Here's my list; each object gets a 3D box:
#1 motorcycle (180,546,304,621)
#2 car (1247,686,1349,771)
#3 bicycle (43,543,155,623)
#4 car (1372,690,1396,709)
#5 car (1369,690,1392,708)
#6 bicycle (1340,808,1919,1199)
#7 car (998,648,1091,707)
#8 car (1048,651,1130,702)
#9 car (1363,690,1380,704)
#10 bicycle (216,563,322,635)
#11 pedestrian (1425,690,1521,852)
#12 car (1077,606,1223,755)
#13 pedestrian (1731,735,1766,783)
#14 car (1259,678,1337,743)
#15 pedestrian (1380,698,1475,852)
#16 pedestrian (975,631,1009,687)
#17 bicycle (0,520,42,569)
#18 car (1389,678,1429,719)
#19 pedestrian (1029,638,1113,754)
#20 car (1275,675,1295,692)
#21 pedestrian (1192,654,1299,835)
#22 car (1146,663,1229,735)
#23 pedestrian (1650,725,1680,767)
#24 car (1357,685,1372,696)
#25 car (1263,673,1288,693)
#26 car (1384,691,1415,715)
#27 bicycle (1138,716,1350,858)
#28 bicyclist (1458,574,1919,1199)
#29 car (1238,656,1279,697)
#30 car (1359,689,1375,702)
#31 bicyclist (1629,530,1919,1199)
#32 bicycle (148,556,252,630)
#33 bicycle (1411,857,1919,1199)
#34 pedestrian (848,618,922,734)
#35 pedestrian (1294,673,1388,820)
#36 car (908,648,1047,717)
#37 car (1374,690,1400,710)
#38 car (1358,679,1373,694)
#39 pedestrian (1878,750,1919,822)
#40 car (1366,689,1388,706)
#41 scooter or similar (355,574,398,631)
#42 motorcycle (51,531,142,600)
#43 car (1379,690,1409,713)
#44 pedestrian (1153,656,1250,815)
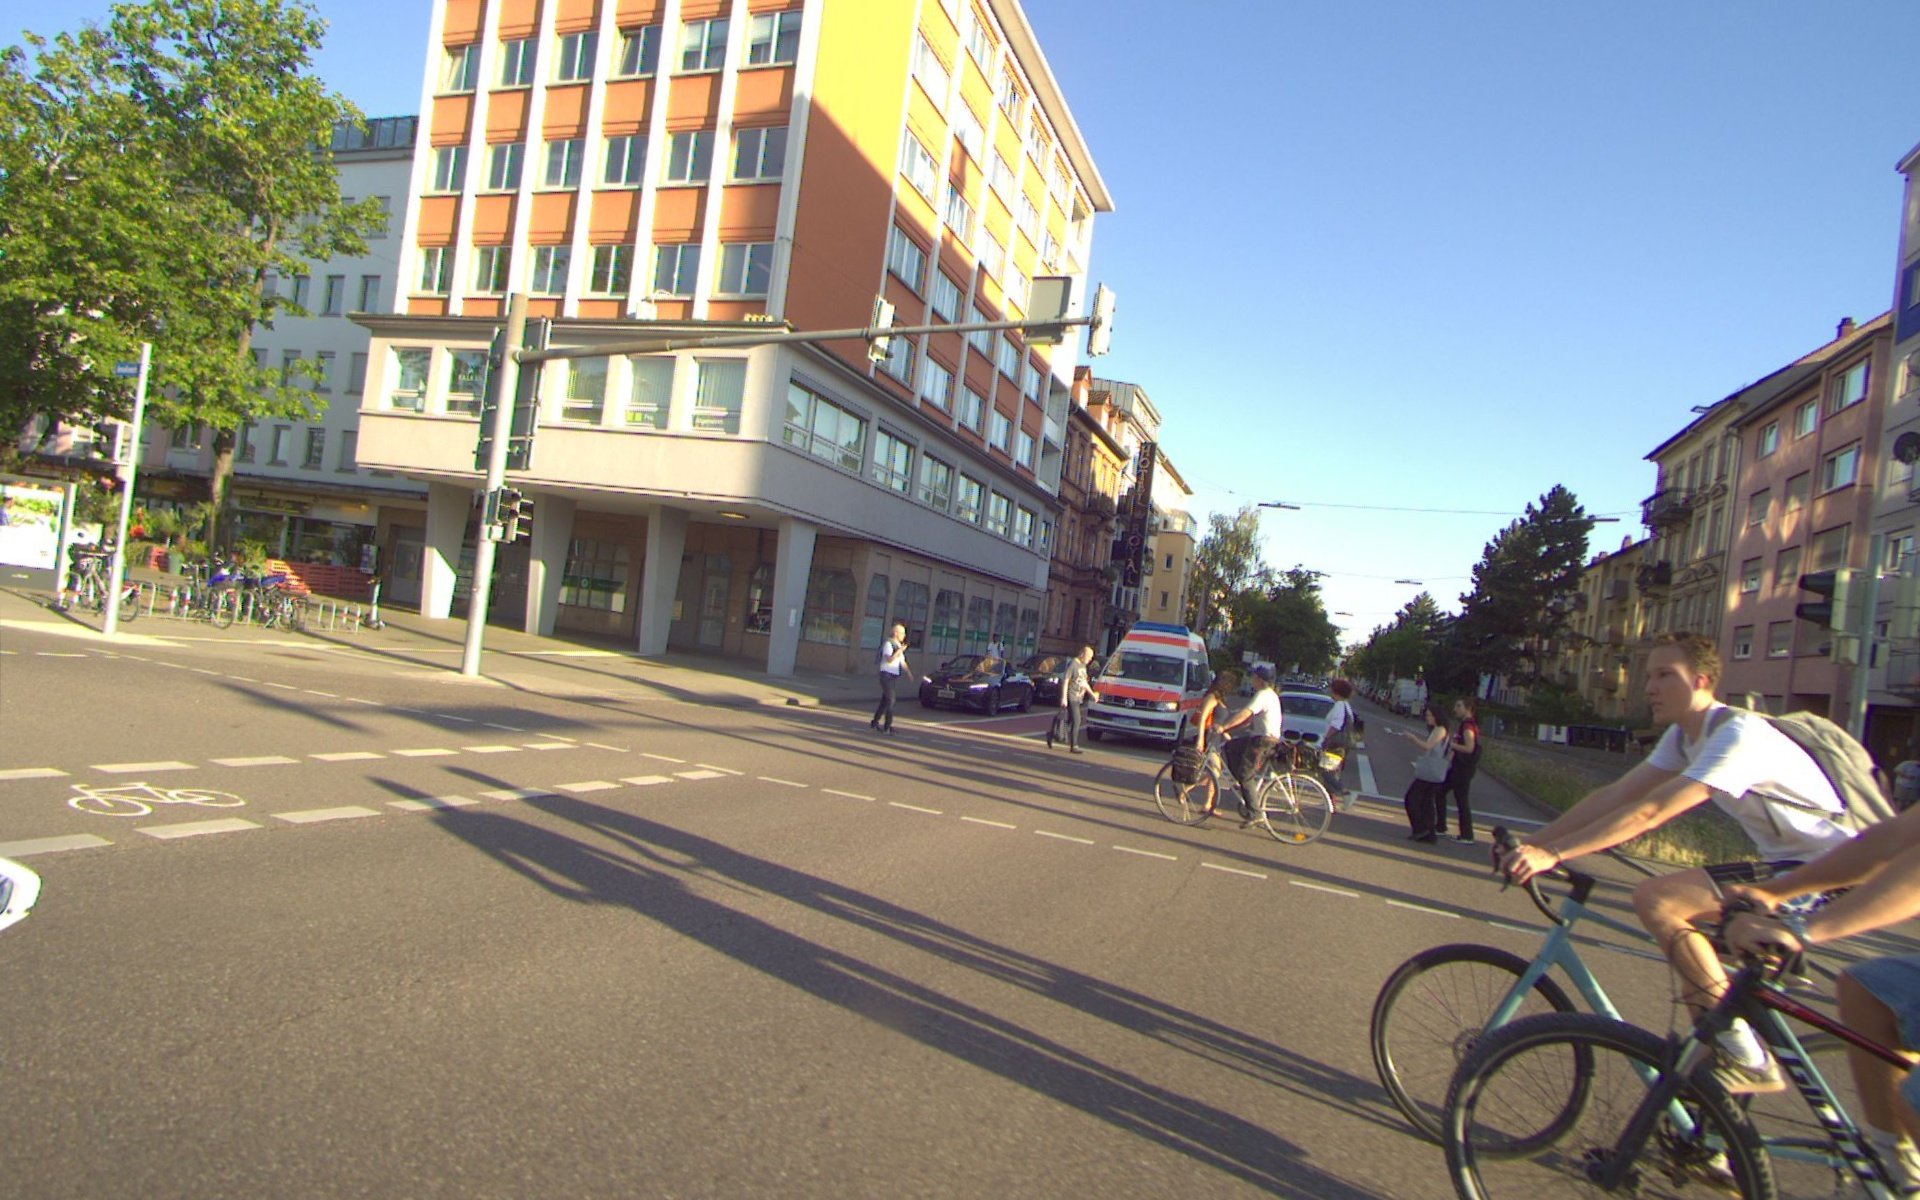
[{"bbox_3d":[-16.343,-0.353,22.952,0.747,1.422,2.049,7,-2,29],"label":"motorcycle"},{"bbox_3d":[7.301,2.651,21.555,1.773,1.392,4.002,6,-2,21],"label":"car"},{"bbox_3d":[-15.245,-0.302,17.811,1.840,1.140,0.647,8,0,23],"label":"bicycle"},{"bbox_3d":[44.142,10.295,104.721,1.840,1.614,3.850,7,-2,19],"label":"car"},{"bbox_3d":[46.208,10.854,110.642,1.840,1.614,3.850,7,-2,19],"label":"car"},{"bbox_3d":[2.262,1.395,3.200,1.823,1.040,0.576,7,0,25],"label":"bicycle"},{"bbox_3d":[2.740,2.460,31.828,1.724,1.527,3.776,7,-2,23],"label":"car"},{"bbox_3d":[4.978,2.932,38.314,1.964,1.592,4.001,7,-2,23],"label":"car"},{"bbox_3d":[57.424,13.469,140.430,1.840,1.614,3.850,7,-2,19],"label":"car"},{"bbox_3d":[-14.137,-0.021,20.564,2.085,1.171,0.647,8,0,23],"label":"bicycle"},{"bbox_3d":[5.854,1.920,11.528,0.733,1.682,0.684,7,0,22],"label":"pedestrian"},{"bbox_3d":[4.161,1.687,21.193,1.890,2.511,5.270,7,-2,21],"label":"car"},{"bbox_3d":[29.258,5.885,37.329,0.698,1.595,0.728,7,0,20],"label":"pedestrian"},{"bbox_3d":[9.687,3.092,28.632,1.755,1.481,4.002,7,-2,22],"label":"car"},{"bbox_3d":[5.109,1.885,11.043,0.733,1.517,0.684,7,0,22],"label":"pedestrian"},{"bbox_3d":[1.067,1.977,33.431,0.628,1.777,0.819,7,0,23],"label":"pedestrian"},{"bbox_3d":[-26.476,-1.579,28.105,1.723,1.171,0.421,8,0,23],"label":"bicycle"},{"bbox_3d":[34.130,7.466,76.630,2.051,2.753,4.551,7,-1,19],"label":"car"},{"bbox_3d":[1.840,1.572,16.614,1.008,1.721,0.786,7,0,22],"label":"pedestrian"},{"bbox_3d":[36.998,9.477,114.468,1.893,1.592,4.002,7,-2,20],"label":"car"},{"bbox_3d":[2.798,1.380,9.821,0.748,1.608,0.677,5,-1,28],"label":"pedestrian"},{"bbox_3d":[6.222,2.633,27.219,1.567,1.589,4.088,7,-2,20],"label":"car"},{"bbox_3d":[29.366,6.066,41.893,0.698,1.595,0.728,7,0,19],"label":"pedestrian"},{"bbox_3d":[66.362,14.857,165.178,1.840,1.614,3.850,7,-2,19],"label":"car"},{"bbox_3d":[30.012,7.901,95.682,1.893,1.592,4.002,7,-2,21],"label":"car"},{"bbox_3d":[35.825,8.395,82.099,1.840,1.614,3.850,7,-2,19],"label":"car"},{"bbox_3d":[2.751,1.779,9.813,1.817,0.992,0.522,7,-1,28],"label":"bicycle"},{"bbox_3d":[2.255,0.909,3.209,0.976,1.829,0.676,7,-1,25],"label":"bicyclist"},{"bbox_3d":[21.304,5.443,71.657,2.086,2.552,6.435,7,-2,20],"label":"car"},{"bbox_3d":[63.692,14.950,157.479,1.840,1.614,3.850,7,-2,19],"label":"car"},{"bbox_3d":[2.214,0.851,2.200,1.040,1.829,0.828,7,-1,31],"label":"bicyclist"},{"bbox_3d":[-14.611,-0.136,19.337,1.840,1.140,0.647,8,0,23],"label":"bicycle"},{"bbox_3d":[2.099,1.340,2.192,1.948,1.040,0.479,7,0,31],"label":"bicycle"},{"bbox_3d":[-1.189,1.201,15.990,0.797,1.721,0.570,7,0,22],"label":"pedestrian"},{"bbox_3d":[4.836,1.823,12.769,0.889,1.682,0.730,7,0,22],"label":"pedestrian"},{"bbox_3d":[0.573,2.088,25.387,1.806,1.356,4.679,7,-2,22],"label":"car"},{"bbox_3d":[41.596,9.734,98.066,1.840,1.614,3.850,7,-2,19],"label":"car"},{"bbox_3d":[71.977,15.371,178.519,1.840,2.435,4.310,7,-1,19],"label":"car"},{"bbox_3d":[25.858,5.093,27.567,0.699,1.796,0.727,7,0,28],"label":"pedestrian"},{"bbox_3d":[48.340,11.301,116.665,1.840,1.614,3.850,7,-2,19],"label":"car"},{"bbox_3d":[-14.288,0.059,24.614,1.166,1.269,0.415,7,-1,41],"label":"scooter or similar"},{"bbox_3d":[-19.069,-0.766,22.203,2.162,1.257,0.668,7,-1,27],"label":"motorcycle"},{"bbox_3d":[37.848,8.810,87.820,1.840,1.614,3.850,7,-2,19],"label":"car"},{"bbox_3d":[2.686,1.479,11.168,0.733,1.608,0.683,7,0,26],"label":"pedestrian"}]
